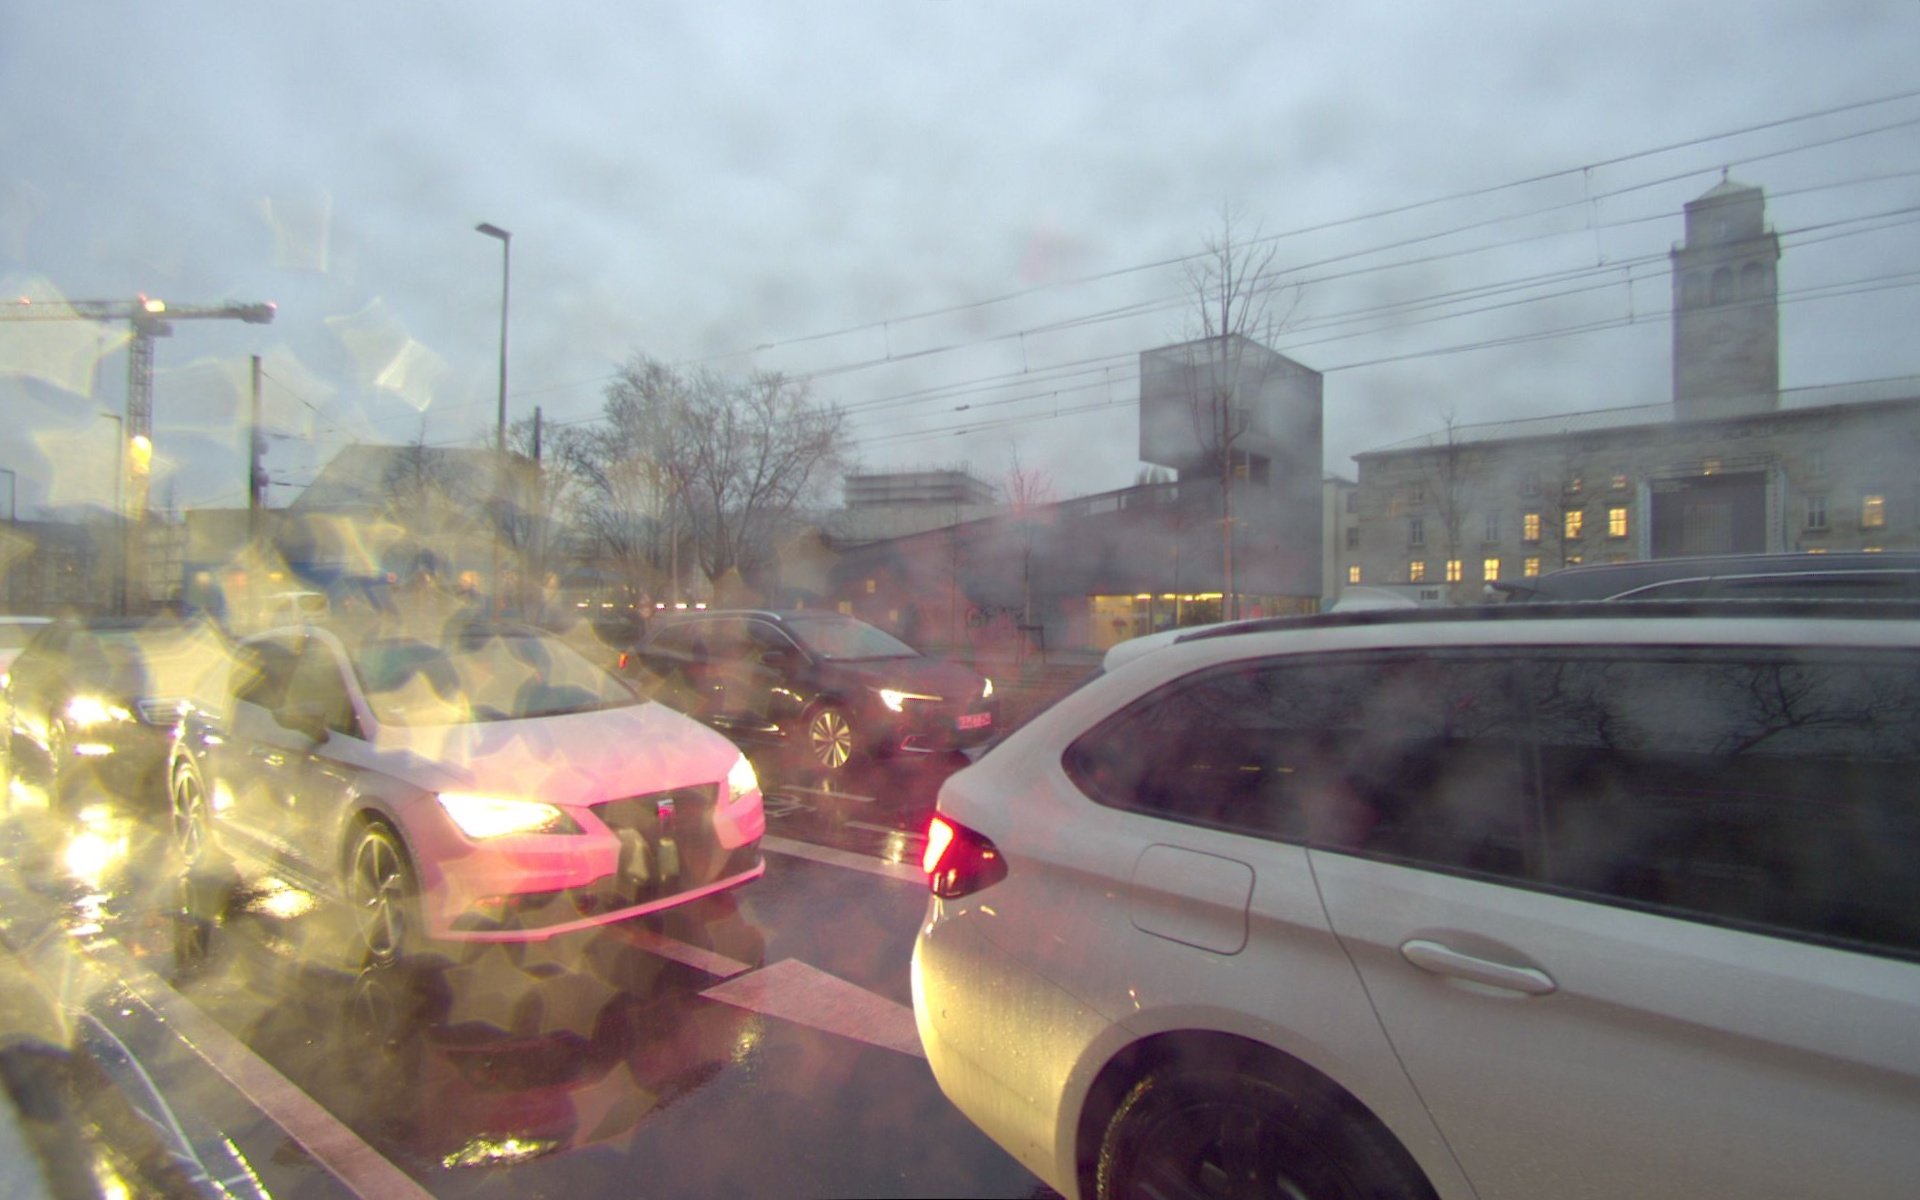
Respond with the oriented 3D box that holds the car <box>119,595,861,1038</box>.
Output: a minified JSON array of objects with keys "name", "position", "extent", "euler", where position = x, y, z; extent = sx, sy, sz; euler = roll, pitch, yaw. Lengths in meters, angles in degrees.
[{"name":"car","position":[-2.847,0.768,5.621],"extent":[4.500,1.498,1.925],"euler":[-1,0,38]}]

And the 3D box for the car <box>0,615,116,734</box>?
[{"name":"car","position":[-14.318,1.033,15.241],"extent":[3.998,1.586,1.882],"euler":[-1,0,41]}]

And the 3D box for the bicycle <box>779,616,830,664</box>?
[{"name":"bicycle","position":[-6.082,1.546,39.504],"extent":[2.061,1.746,0.754],"euler":[1,1,39]}]

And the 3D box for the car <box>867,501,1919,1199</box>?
[{"name":"car","position":[2.157,0.646,1.603],"extent":[4.557,1.498,1.996],"euler":[-1,-2,41]}]

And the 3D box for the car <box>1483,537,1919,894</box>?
[{"name":"car","position":[5.200,0.524,5.023],"extent":[4.289,1.596,1.946],"euler":[-1,-1,42]}]

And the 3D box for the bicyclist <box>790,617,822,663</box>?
[{"name":"bicyclist","position":[-5.999,1.545,39.437],"extent":[0.960,1.746,0.754],"euler":[1,1,38]}]

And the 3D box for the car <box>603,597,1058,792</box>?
[{"name":"car","position":[-1.465,0.761,10.100],"extent":[4.659,1.519,1.830],"euler":[0,-1,39]}]

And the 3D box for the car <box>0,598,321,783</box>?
[{"name":"car","position":[-8.530,0.782,10.427],"extent":[4.501,1.498,1.974],"euler":[-1,-2,39]}]
